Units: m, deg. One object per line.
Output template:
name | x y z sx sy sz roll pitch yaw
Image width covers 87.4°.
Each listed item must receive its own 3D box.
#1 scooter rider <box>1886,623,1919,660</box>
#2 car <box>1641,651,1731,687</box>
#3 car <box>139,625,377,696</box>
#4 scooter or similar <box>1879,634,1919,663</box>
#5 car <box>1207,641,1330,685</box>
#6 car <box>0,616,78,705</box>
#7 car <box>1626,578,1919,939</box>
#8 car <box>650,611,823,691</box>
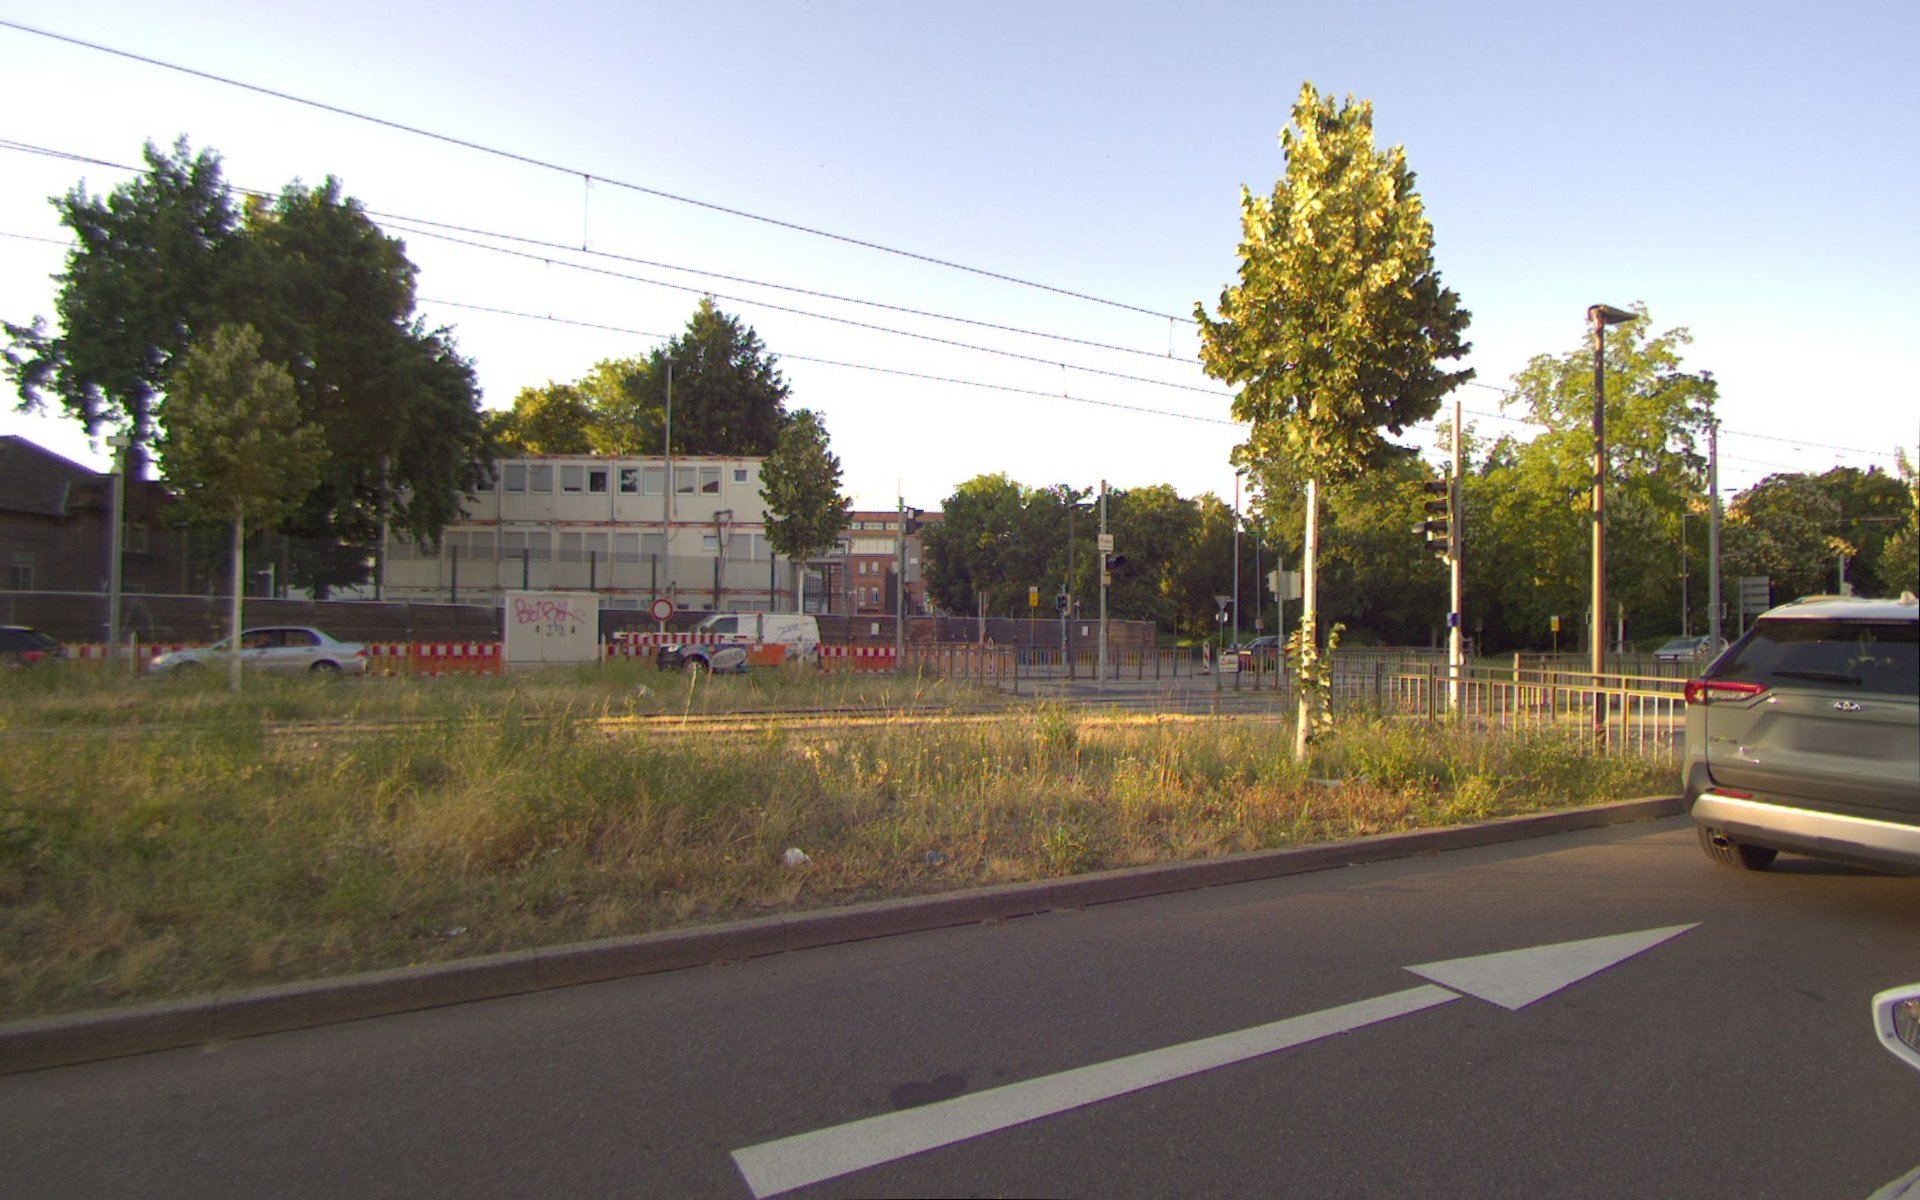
scooter rider | 39.312 1.744 41.914 0.644 1.534 0.818 1 -2 -26
car | 31.986 3.001 44.243 3.737 1.501 1.792 1 -2 -29
car | -16.645 1.387 24.155 4.467 1.501 1.985 0 0 -29
scooter or similar | 39.286 2.009 41.887 0.507 1.168 1.325 1 -2 -26
car | 12.104 2.443 39.386 4.461 1.501 1.987 0 0 -26
car | -18.549 1.054 17.453 4.466 1.501 1.985 0 0 -28
car | 6.123 0.747 6.043 4.217 1.681 1.846 0 0 -30
car | -6.600 1.423 29.752 4.690 2.197 1.986 0 0 -28
